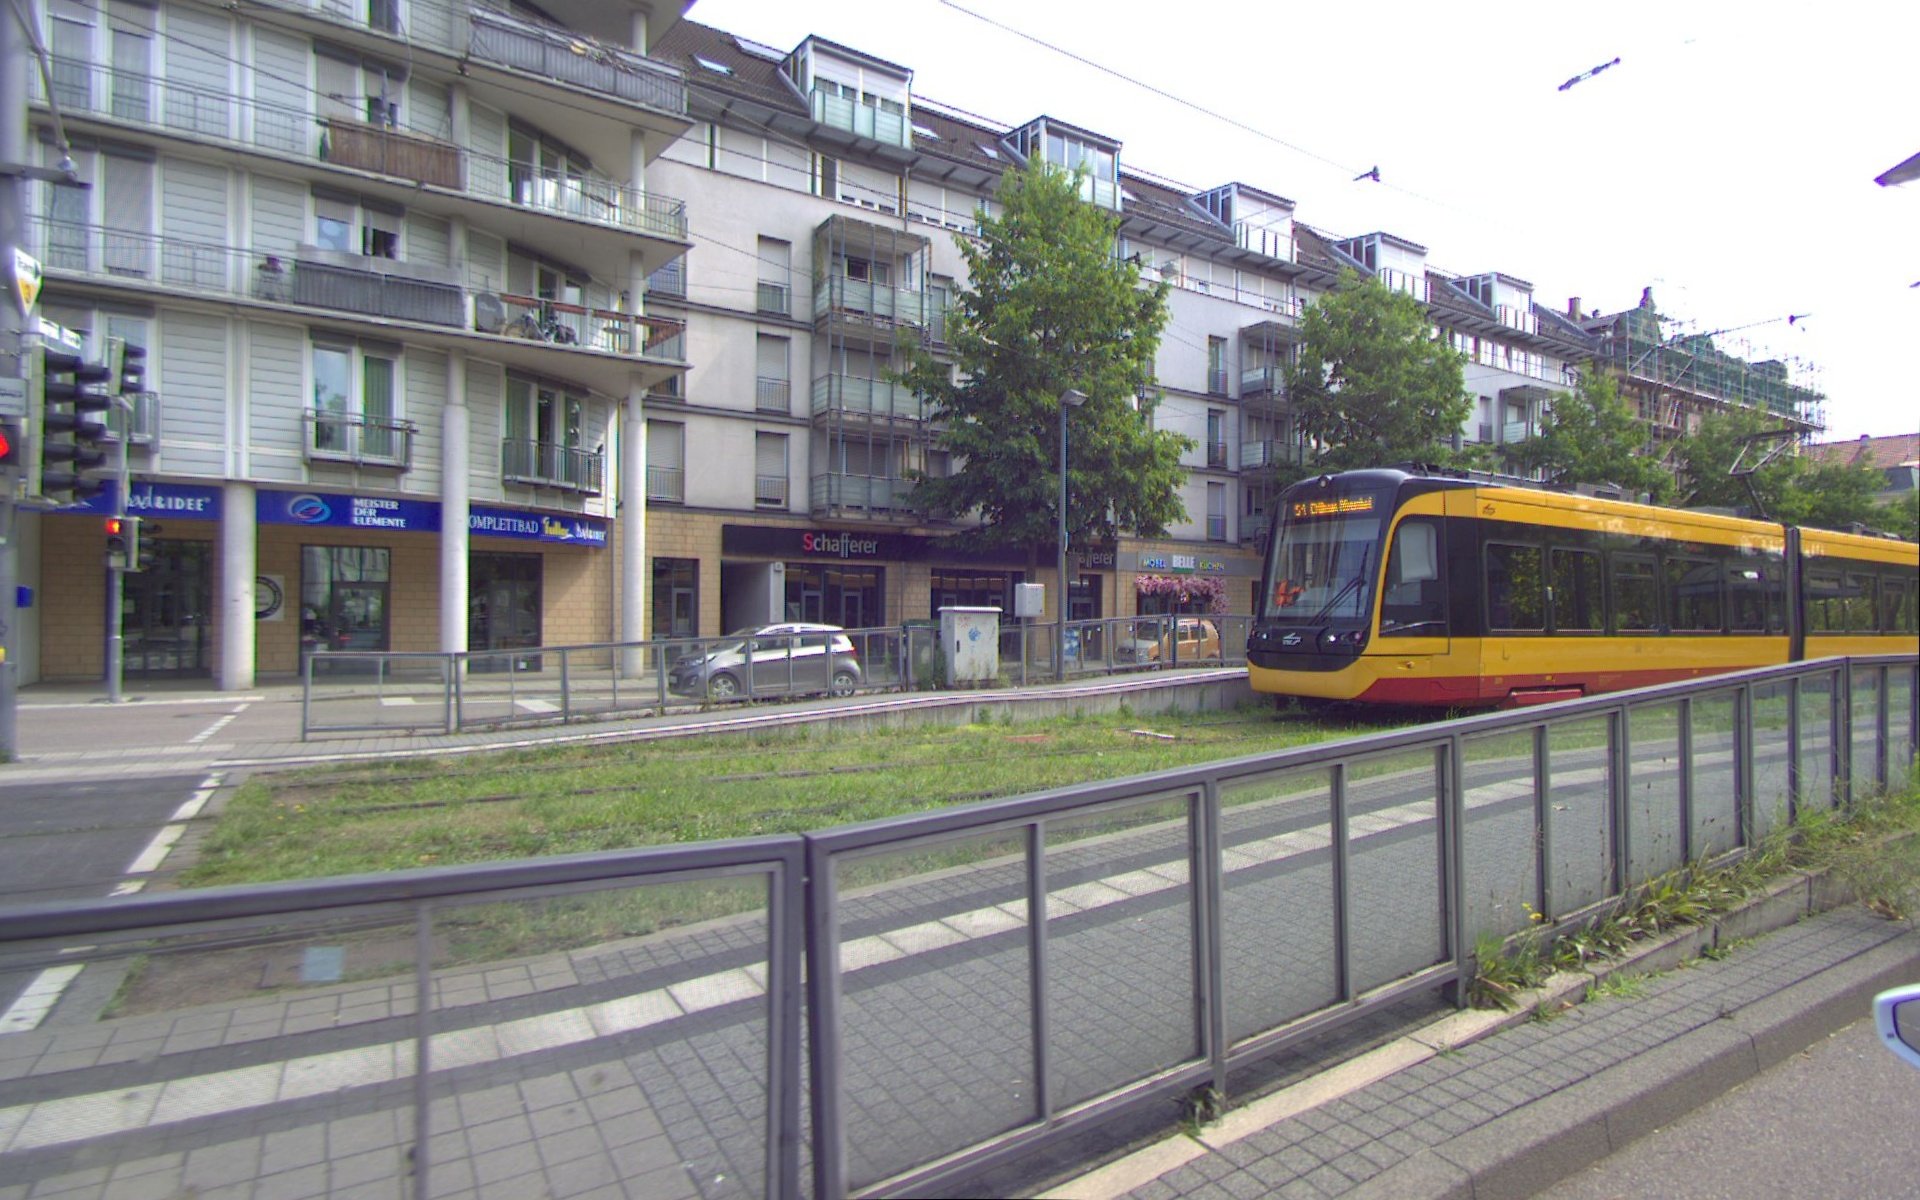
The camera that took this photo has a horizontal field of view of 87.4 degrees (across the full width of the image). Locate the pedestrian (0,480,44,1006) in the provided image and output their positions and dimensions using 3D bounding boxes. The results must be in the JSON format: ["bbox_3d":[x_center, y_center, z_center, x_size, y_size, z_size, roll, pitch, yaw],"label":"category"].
[{"bbox_3d":[-3.746,0.489,3.213,1.033,1.804,0.844,1,0,-31],"label":"pedestrian"}]

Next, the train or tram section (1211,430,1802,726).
[{"bbox_3d":[9.872,-0.159,16.936,12.872,3.632,2.792,1,0,-32],"label":"train or tram section"}]

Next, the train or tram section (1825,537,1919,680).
[{"bbox_3d":[29.465,0.336,29.321,12.872,3.632,2.708,1,0,-32],"label":"train or tram section"}]

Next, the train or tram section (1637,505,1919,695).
[{"bbox_3d":[19.654,0.079,23.133,10.288,3.632,2.780,1,0,-32],"label":"train or tram section"}]

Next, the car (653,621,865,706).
[{"bbox_3d":[-3.770,1.147,19.034,3.604,1.458,1.624,1,-1,-33],"label":"car"}]

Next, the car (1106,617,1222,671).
[{"bbox_3d":[6.446,1.351,31.597,3.441,1.600,1.643,1,-1,-34],"label":"car"}]
